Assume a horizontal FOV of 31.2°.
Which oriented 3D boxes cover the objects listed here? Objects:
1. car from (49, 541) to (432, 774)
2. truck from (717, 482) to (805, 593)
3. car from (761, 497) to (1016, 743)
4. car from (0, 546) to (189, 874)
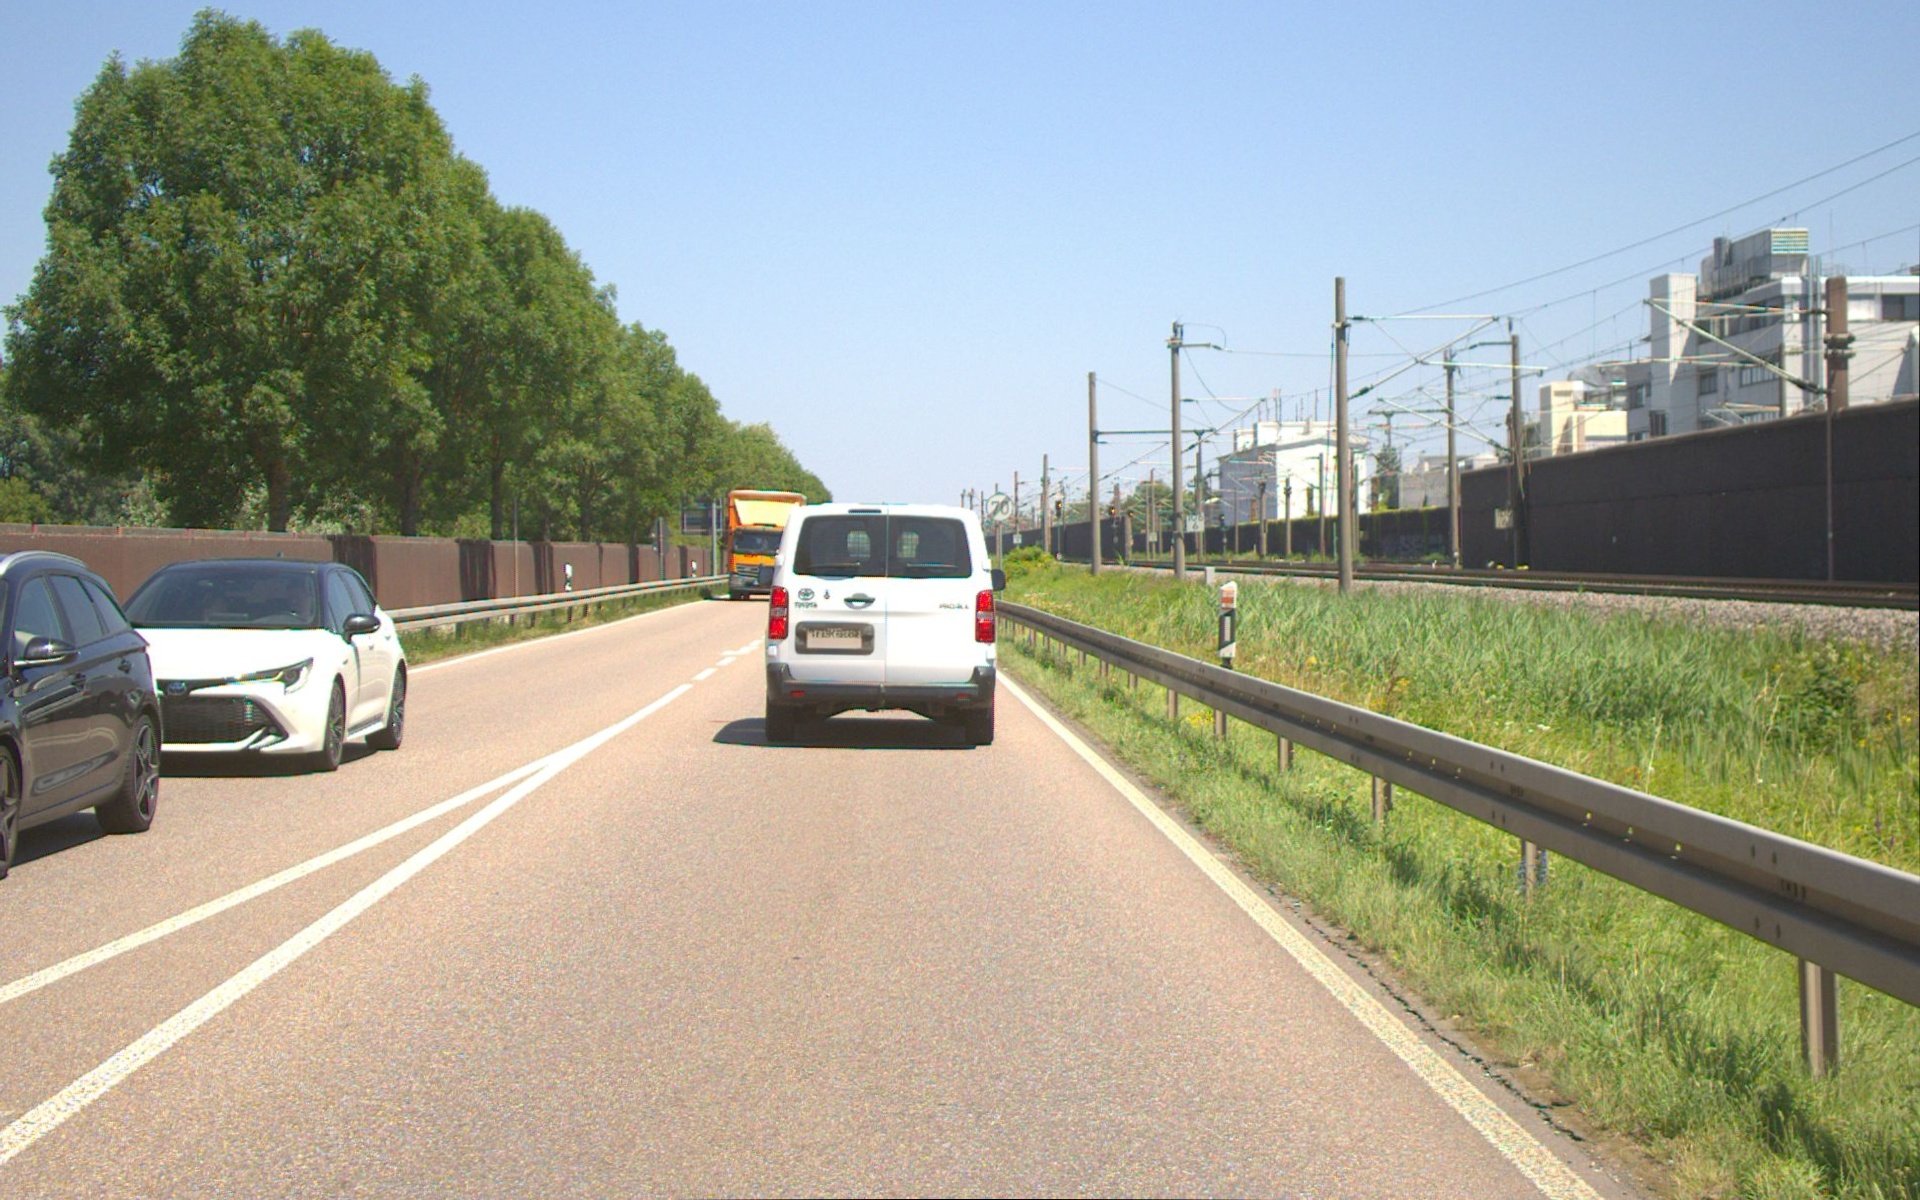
[{"bbox_3d":[-4.963,0.337,24.323,1.685,1.455,4.616,1,1,0],"label":"car"},{"bbox_3d":[-7.134,-2.239,124.347,2.792,3.827,9.324,1,1,-1],"label":"truck"},{"bbox_3d":[-0.609,0.132,28.953,1.945,1.875,4.881,1,0,-1],"label":"car"},{"bbox_3d":[-5.099,0.466,16.491,1.685,1.455,4.616,1,1,1],"label":"car"}]
